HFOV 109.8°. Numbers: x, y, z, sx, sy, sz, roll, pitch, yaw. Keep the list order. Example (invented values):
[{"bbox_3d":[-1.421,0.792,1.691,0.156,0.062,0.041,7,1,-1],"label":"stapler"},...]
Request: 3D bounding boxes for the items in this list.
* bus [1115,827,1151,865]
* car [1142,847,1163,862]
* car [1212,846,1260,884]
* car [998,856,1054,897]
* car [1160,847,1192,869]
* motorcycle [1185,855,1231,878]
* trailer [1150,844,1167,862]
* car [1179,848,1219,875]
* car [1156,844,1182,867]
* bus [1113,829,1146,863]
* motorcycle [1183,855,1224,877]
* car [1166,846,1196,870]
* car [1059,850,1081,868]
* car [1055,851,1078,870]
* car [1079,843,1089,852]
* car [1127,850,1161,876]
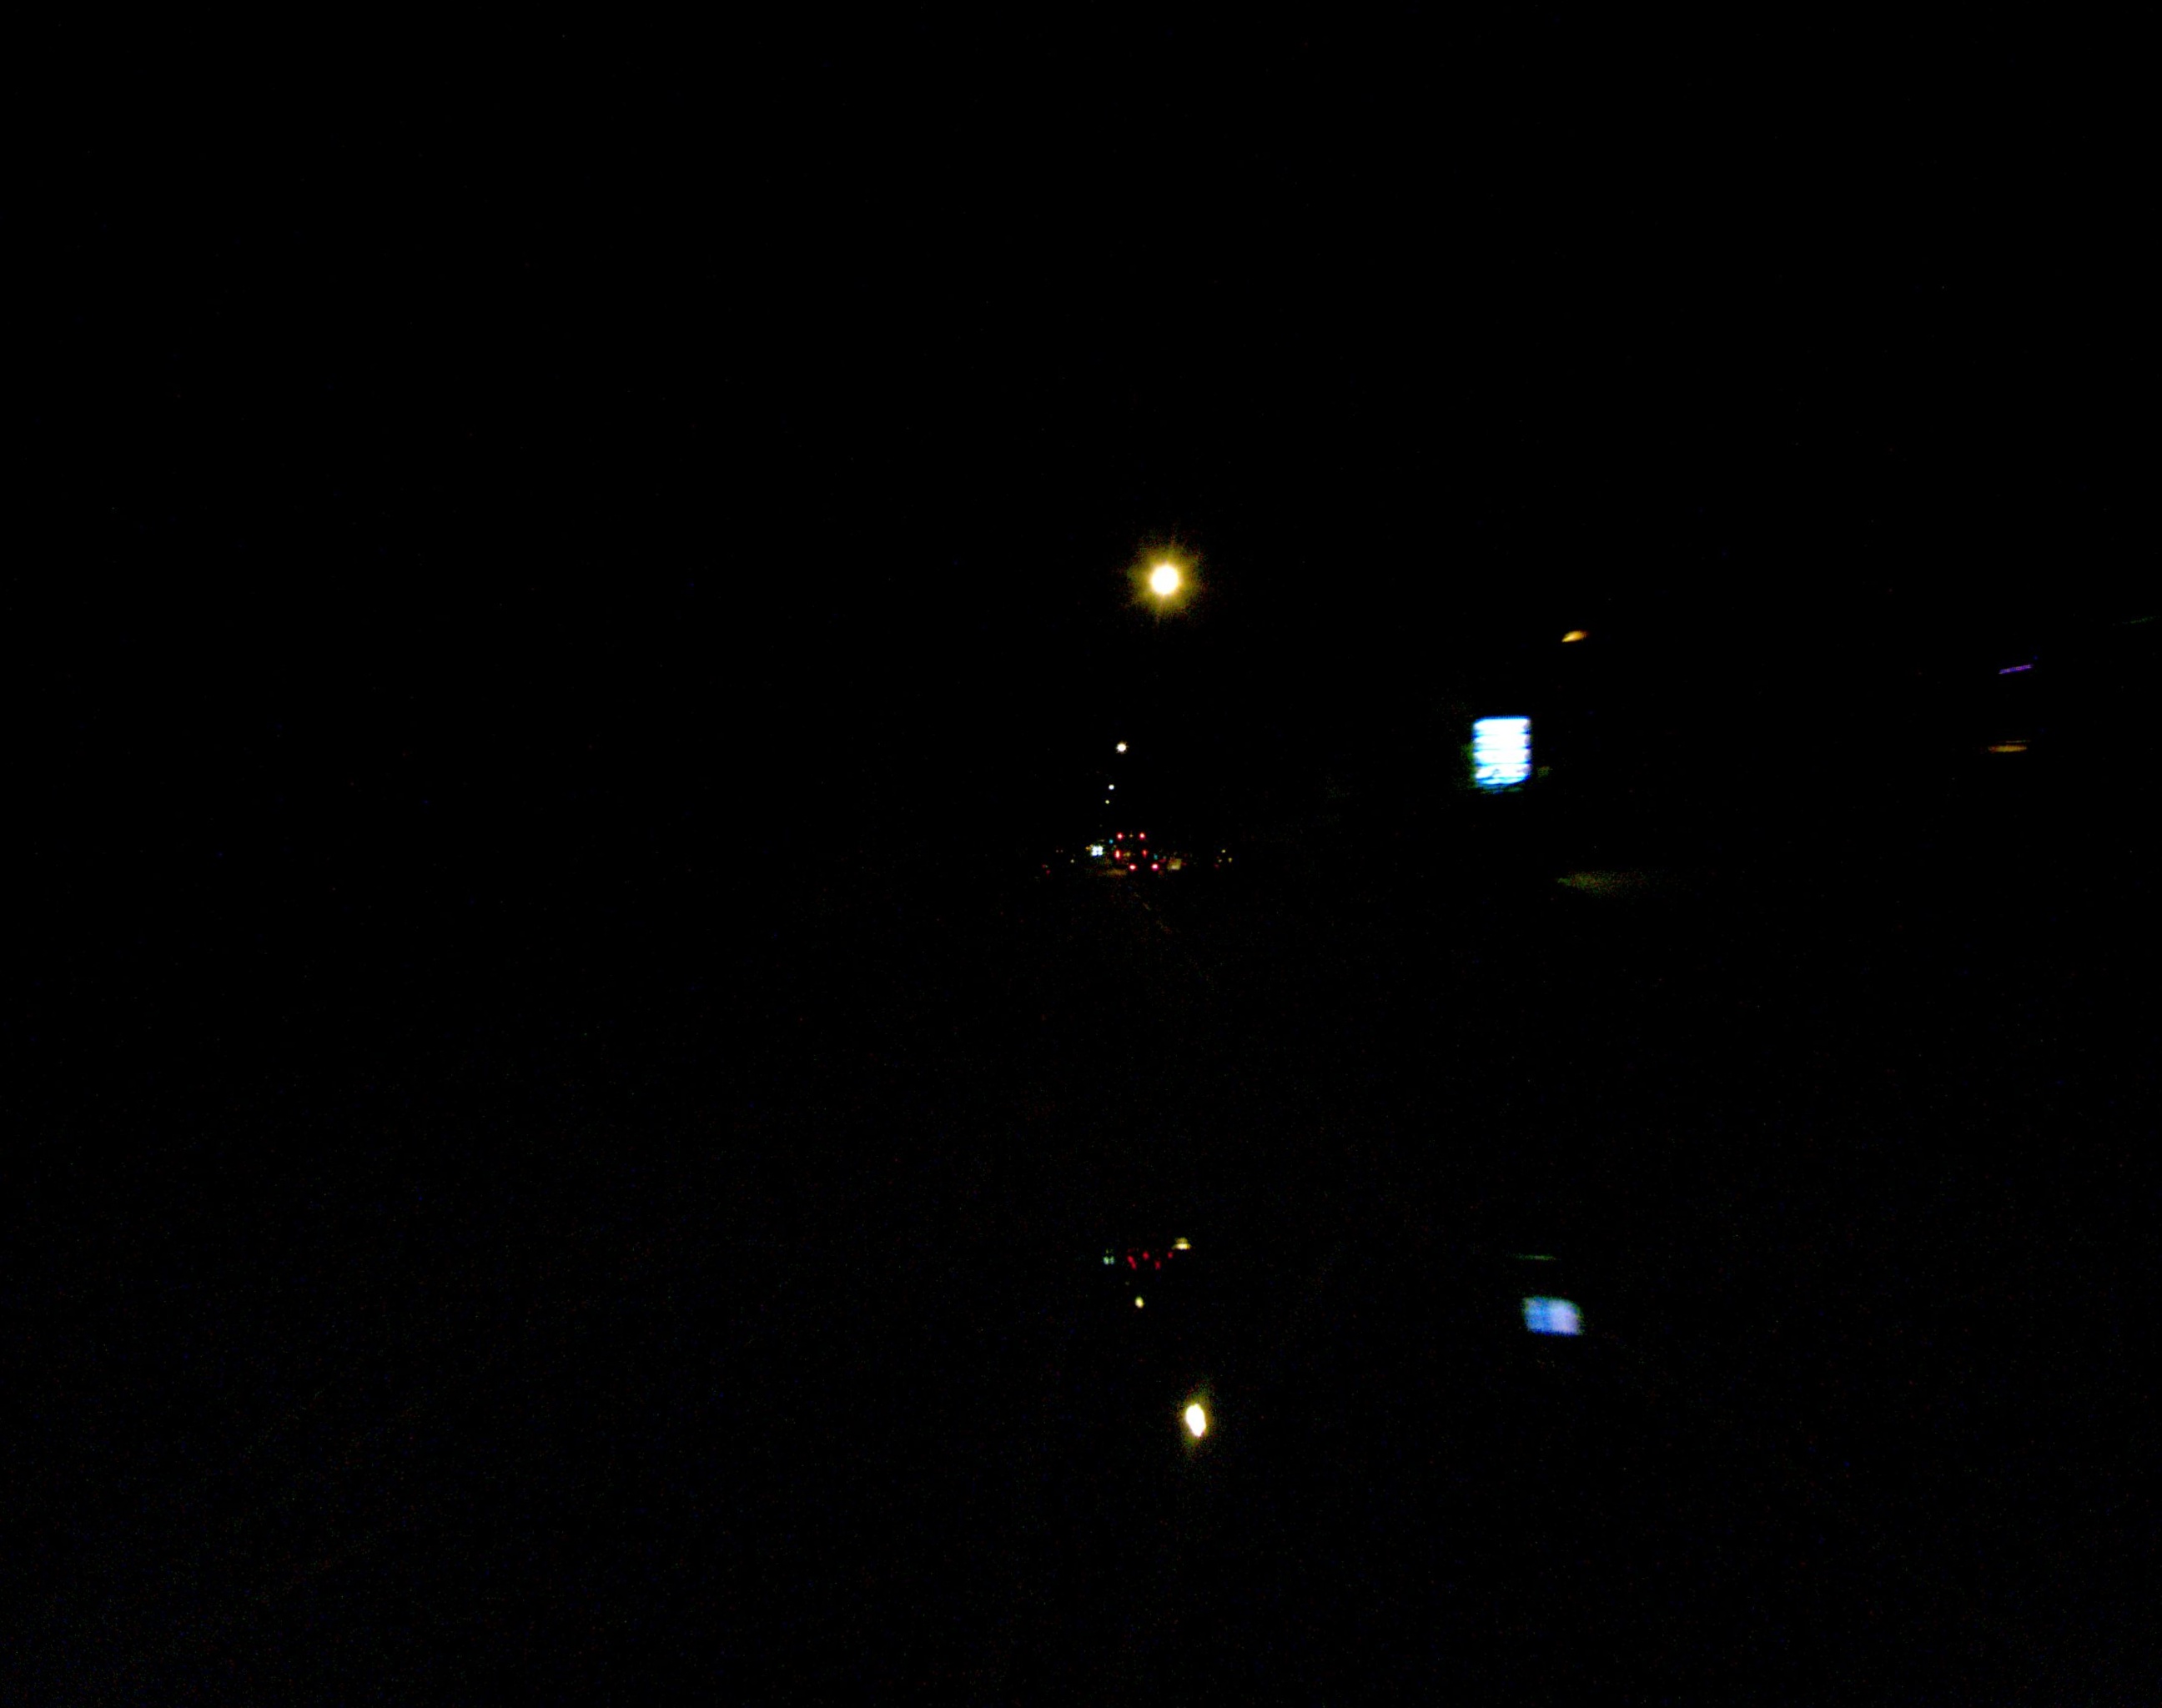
[{"bbox_3d":[4.632,-0.711,69.099,2.844,3.159,7.661,-2,0,2],"label":"bus"},{"bbox_3d":[7.624,0.020,81.473,1.819,1.476,4.346,-2,1,0],"label":"car"},{"bbox_3d":[6.711,0.453,33.205,1.642,1.489,2.765,-1,2,3],"label":"car"},{"bbox_3d":[-2.056,0.819,29.528,1.767,1.467,4.080,0,0,2],"label":"car"},{"bbox_3d":[7.108,0.290,57.145,1.868,1.483,4.279,-2,1,0],"label":"car"},{"bbox_3d":[6.447,0.620,38.687,2.203,1.124,0.717,-1,1,34],"label":"motorcycle"},{"bbox_3d":[7.851,-0.112,76.920,1.641,1.630,3.440,-2,2,6],"label":"trailer"},{"bbox_3d":[6.873,0.417,44.541,1.708,1.483,4.227,0,0,0],"label":"car"},{"bbox_3d":[7.492,0.119,64.994,1.998,1.740,4.000,-2,1,3],"label":"car"},{"bbox_3d":[4.886,-0.807,78.198,2.844,3.159,10.498,-2,0,1],"label":"bus"},{"bbox_3d":[6.547,0.615,40.704,0.717,1.140,2.203,-1,1,-41],"label":"motorcycle"},{"bbox_3d":[6.890,0.278,52.656,1.625,1.483,3.780,-2,1,0],"label":"car"},{"bbox_3d":[-0.975,0.432,68.334,1.849,1.409,4.644,2,1,1],"label":"car"},{"bbox_3d":[-1.137,0.476,62.684,1.775,1.440,4.019,-1,1,1],"label":"car"},{"bbox_3d":[0.584,-1.372,155.703,1.916,1.816,4.899,-1,1,-1],"label":"car"},{"bbox_3d":[3.610,0.486,44.348,1.649,1.414,3.870,-1,0,0],"label":"car"}]
